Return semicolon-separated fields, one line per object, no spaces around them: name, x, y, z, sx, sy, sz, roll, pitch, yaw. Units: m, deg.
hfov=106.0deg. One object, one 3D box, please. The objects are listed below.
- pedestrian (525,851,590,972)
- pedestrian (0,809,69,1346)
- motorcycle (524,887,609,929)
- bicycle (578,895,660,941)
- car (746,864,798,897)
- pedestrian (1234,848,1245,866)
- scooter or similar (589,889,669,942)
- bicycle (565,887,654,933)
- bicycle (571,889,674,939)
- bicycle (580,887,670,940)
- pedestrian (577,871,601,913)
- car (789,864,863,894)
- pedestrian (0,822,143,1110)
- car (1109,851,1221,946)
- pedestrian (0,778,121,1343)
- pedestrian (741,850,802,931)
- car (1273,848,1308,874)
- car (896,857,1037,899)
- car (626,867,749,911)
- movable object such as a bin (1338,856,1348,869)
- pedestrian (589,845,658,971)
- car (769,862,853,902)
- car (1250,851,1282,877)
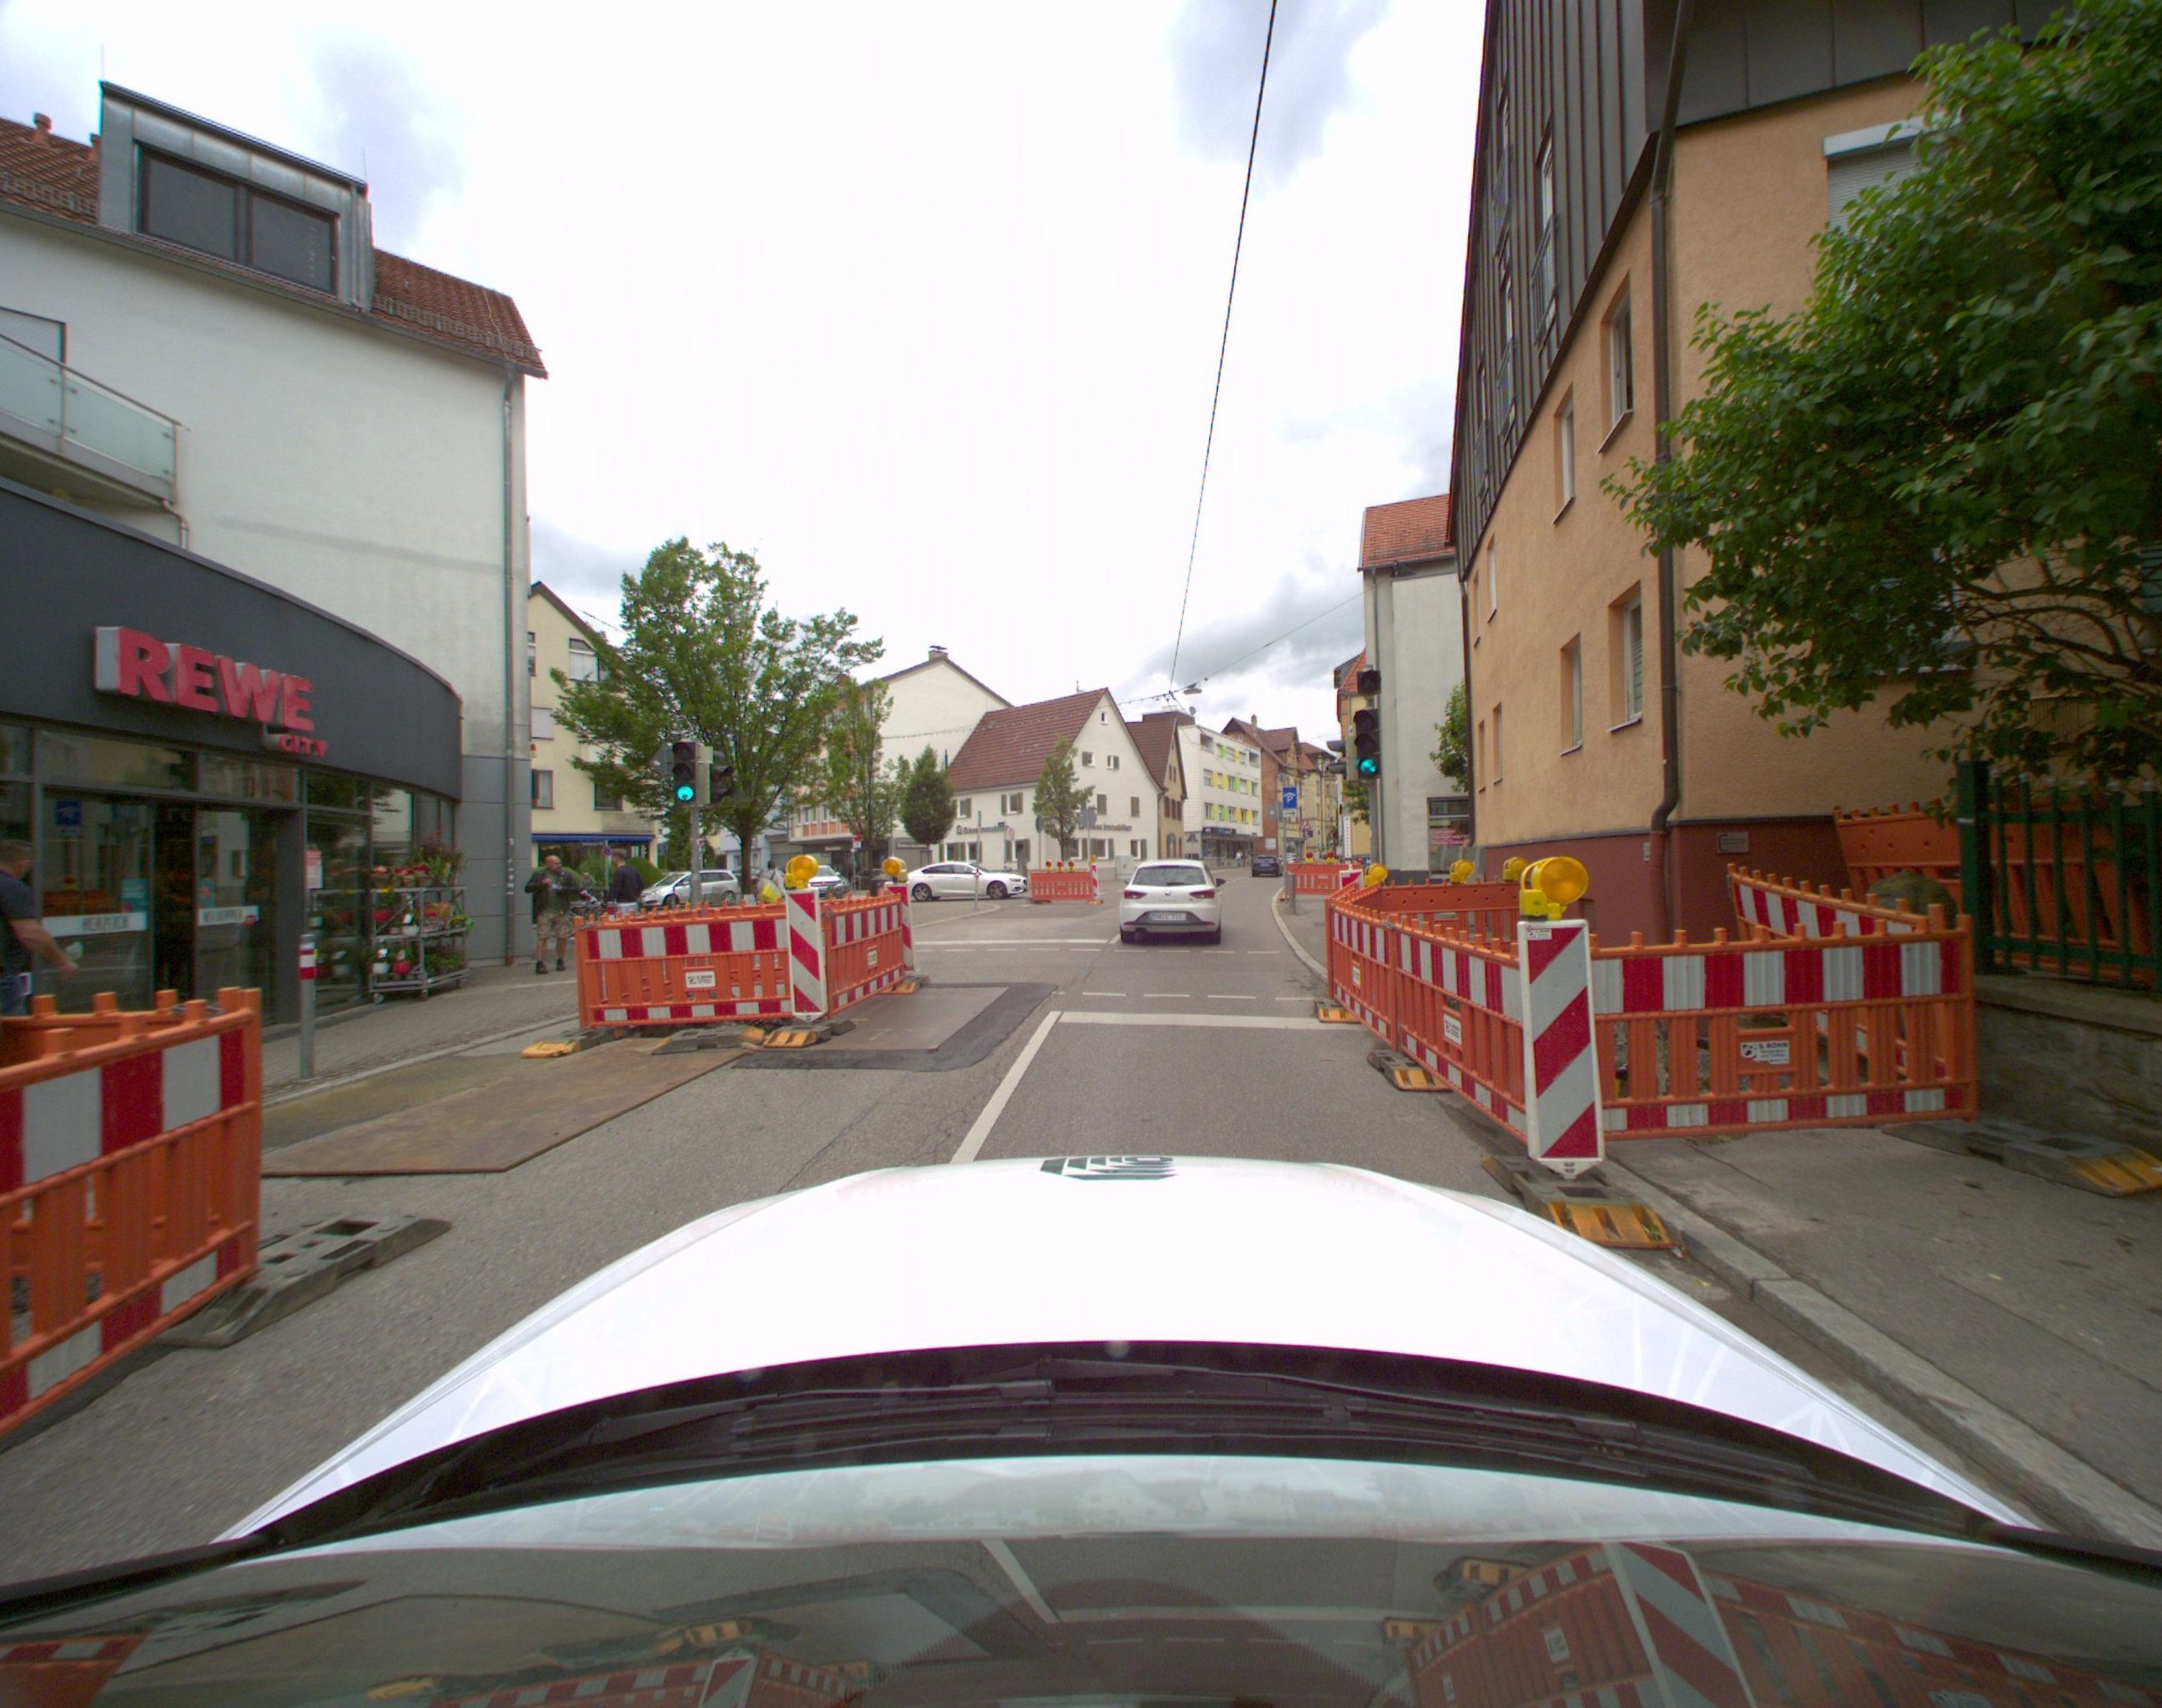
pedestrian;-8.158;0.886;12.692;0.722;1.791;0.685;-1;-5;-40
pedestrian;-3.801;0.732;2.605;0.535;1.744;0.444;-2;0;4
motorcycle;-15.186;1.569;24.072;0.793;1.104;1.967;-3;-1;44
bicycle;-11.589;1.591;20.457;1.639;0.882;0.490;-8;4;-43
car;-16.059;1.310;42.158;2.026;1.557;4.875;-1;0;-27
pedestrian;15.012;0.312;77.090;0.886;1.665;0.865;-2;0;14
scooter or similar;-10.660;1.425;19.246;1.541;1.123;0.590;-2;0;-43
bicycle;-12.948;1.521;22.398;1.971;1.074;0.802;-4;0;-41
bicycle;-11.880;1.524;21.165;2.164;1.046;0.741;-4;1;-43
bicycle;-11.106;1.423;19.881;1.755;1.046;0.525;-7;3;-43
pedestrian;-20.356;1.569;33.739;0.773;1.669;0.945;-2;-1;-29
car;-14.477;1.358;46.141;2.033;1.557;4.858;-1;0;-44
pedestrian;-7.294;0.723;5.593;0.749;1.844;0.789;-1;0;4
car;1.694;0.712;15.243;1.800;1.480;3.881;0;1;10
pedestrian;-3.902;0.672;2.576;0.811;1.816;0.744;-2;0;3
pedestrian;-6.263;0.730;16.519;0.674;1.592;0.884;-2;-1;26
car;17.734;0.566;68.813;1.975;2.013;4.024;-2;0;27
car;-4.276;0.886;30.942;4.879;1.477;2.253;-1;0;5
car;-16.946;1.467;35.257;1.974;1.640;4.355;-3;0;32
movable object such as a bin;19.060;0.635;59.242;0.614;0.921;0.584;-2;0;22
pedestrian;-7.306;0.826;13.049;0.817;1.925;0.779;-1;0;-22
car;-11.891;1.174;35.701;2.031;1.557;4.864;-1;0;-37
car;11.974;0.616;52.582;1.798;1.480;3.886;-2;1;14
